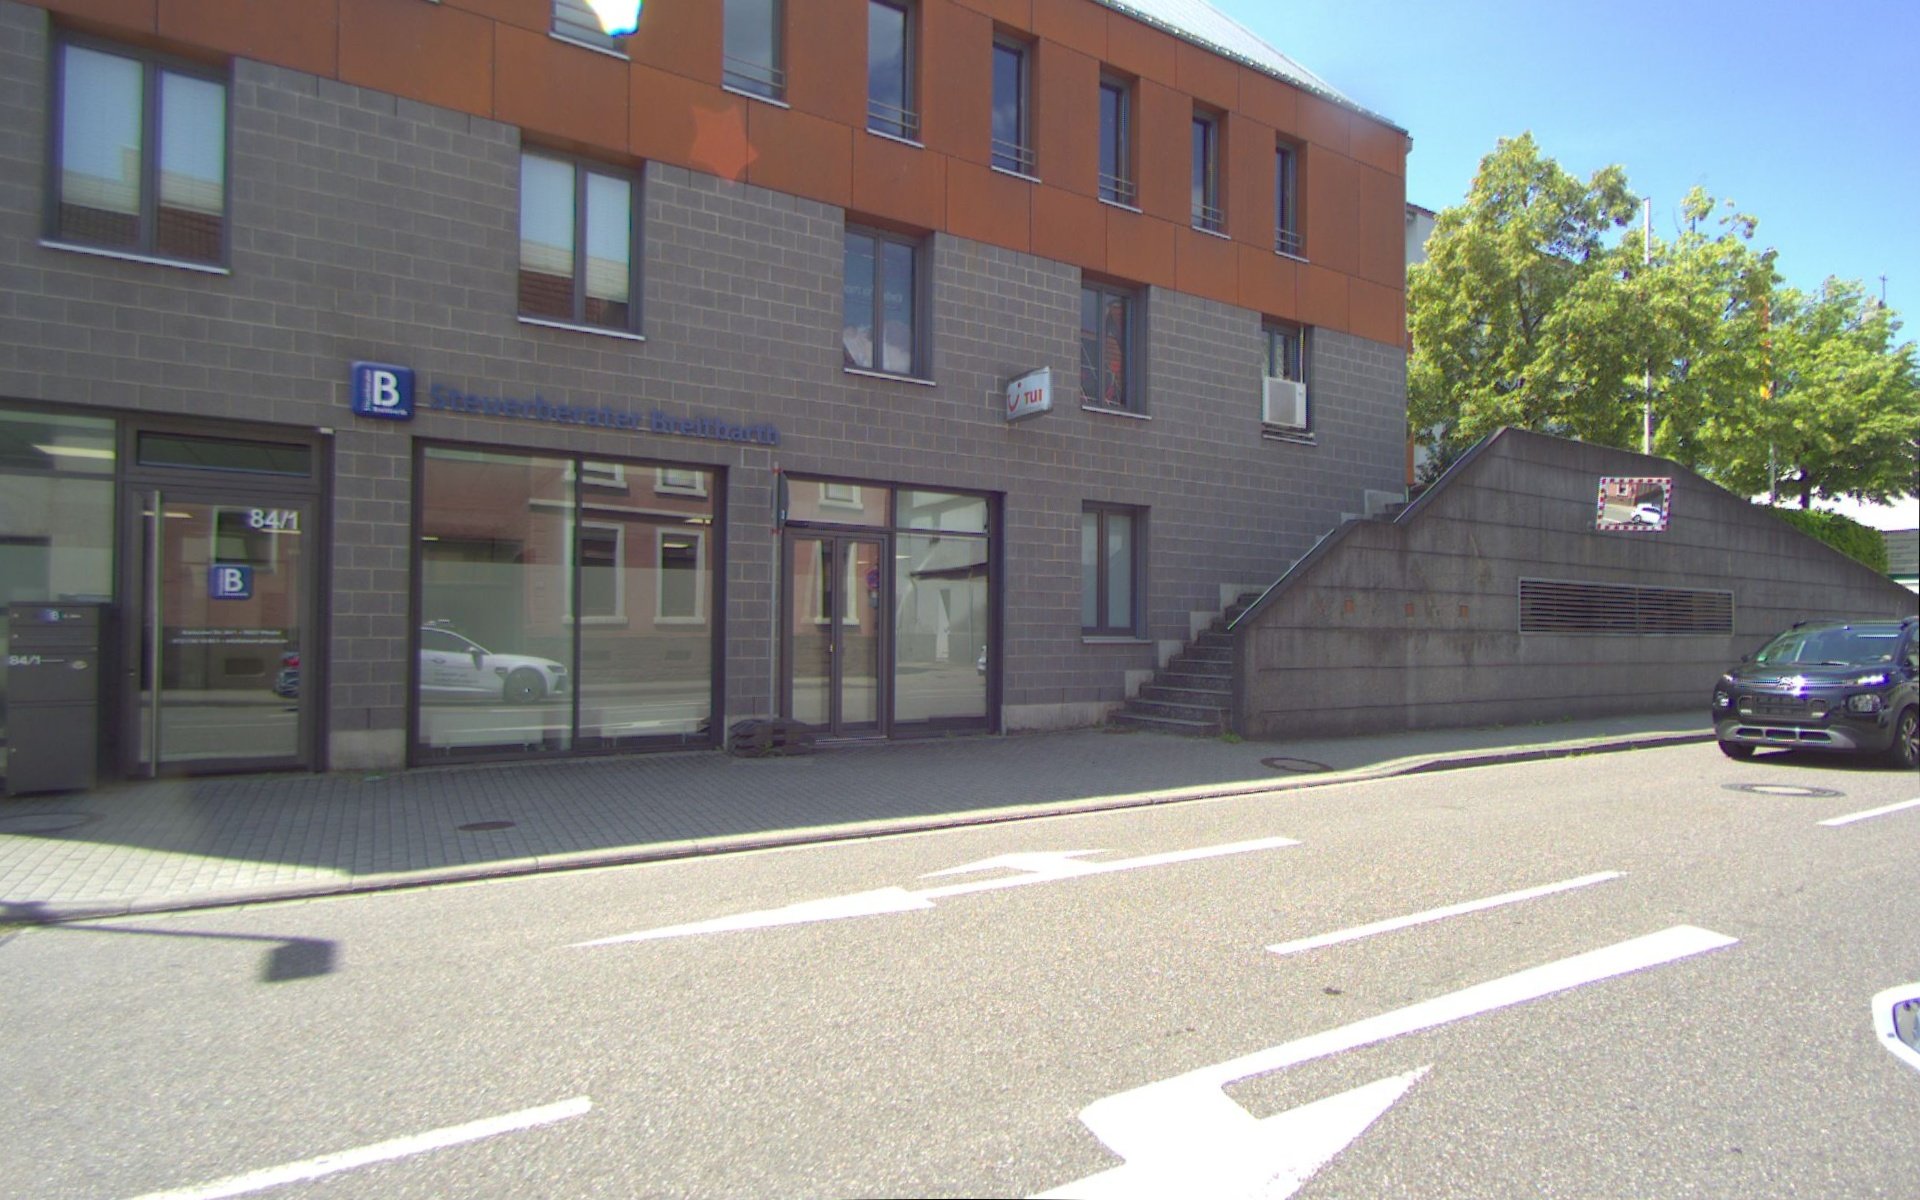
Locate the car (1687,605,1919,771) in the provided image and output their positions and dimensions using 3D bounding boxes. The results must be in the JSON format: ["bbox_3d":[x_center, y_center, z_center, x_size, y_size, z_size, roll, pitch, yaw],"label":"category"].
[{"bbox_3d":[10.576,0.974,11.960,3.971,1.679,1.662,1,-3,-31],"label":"car"}]
